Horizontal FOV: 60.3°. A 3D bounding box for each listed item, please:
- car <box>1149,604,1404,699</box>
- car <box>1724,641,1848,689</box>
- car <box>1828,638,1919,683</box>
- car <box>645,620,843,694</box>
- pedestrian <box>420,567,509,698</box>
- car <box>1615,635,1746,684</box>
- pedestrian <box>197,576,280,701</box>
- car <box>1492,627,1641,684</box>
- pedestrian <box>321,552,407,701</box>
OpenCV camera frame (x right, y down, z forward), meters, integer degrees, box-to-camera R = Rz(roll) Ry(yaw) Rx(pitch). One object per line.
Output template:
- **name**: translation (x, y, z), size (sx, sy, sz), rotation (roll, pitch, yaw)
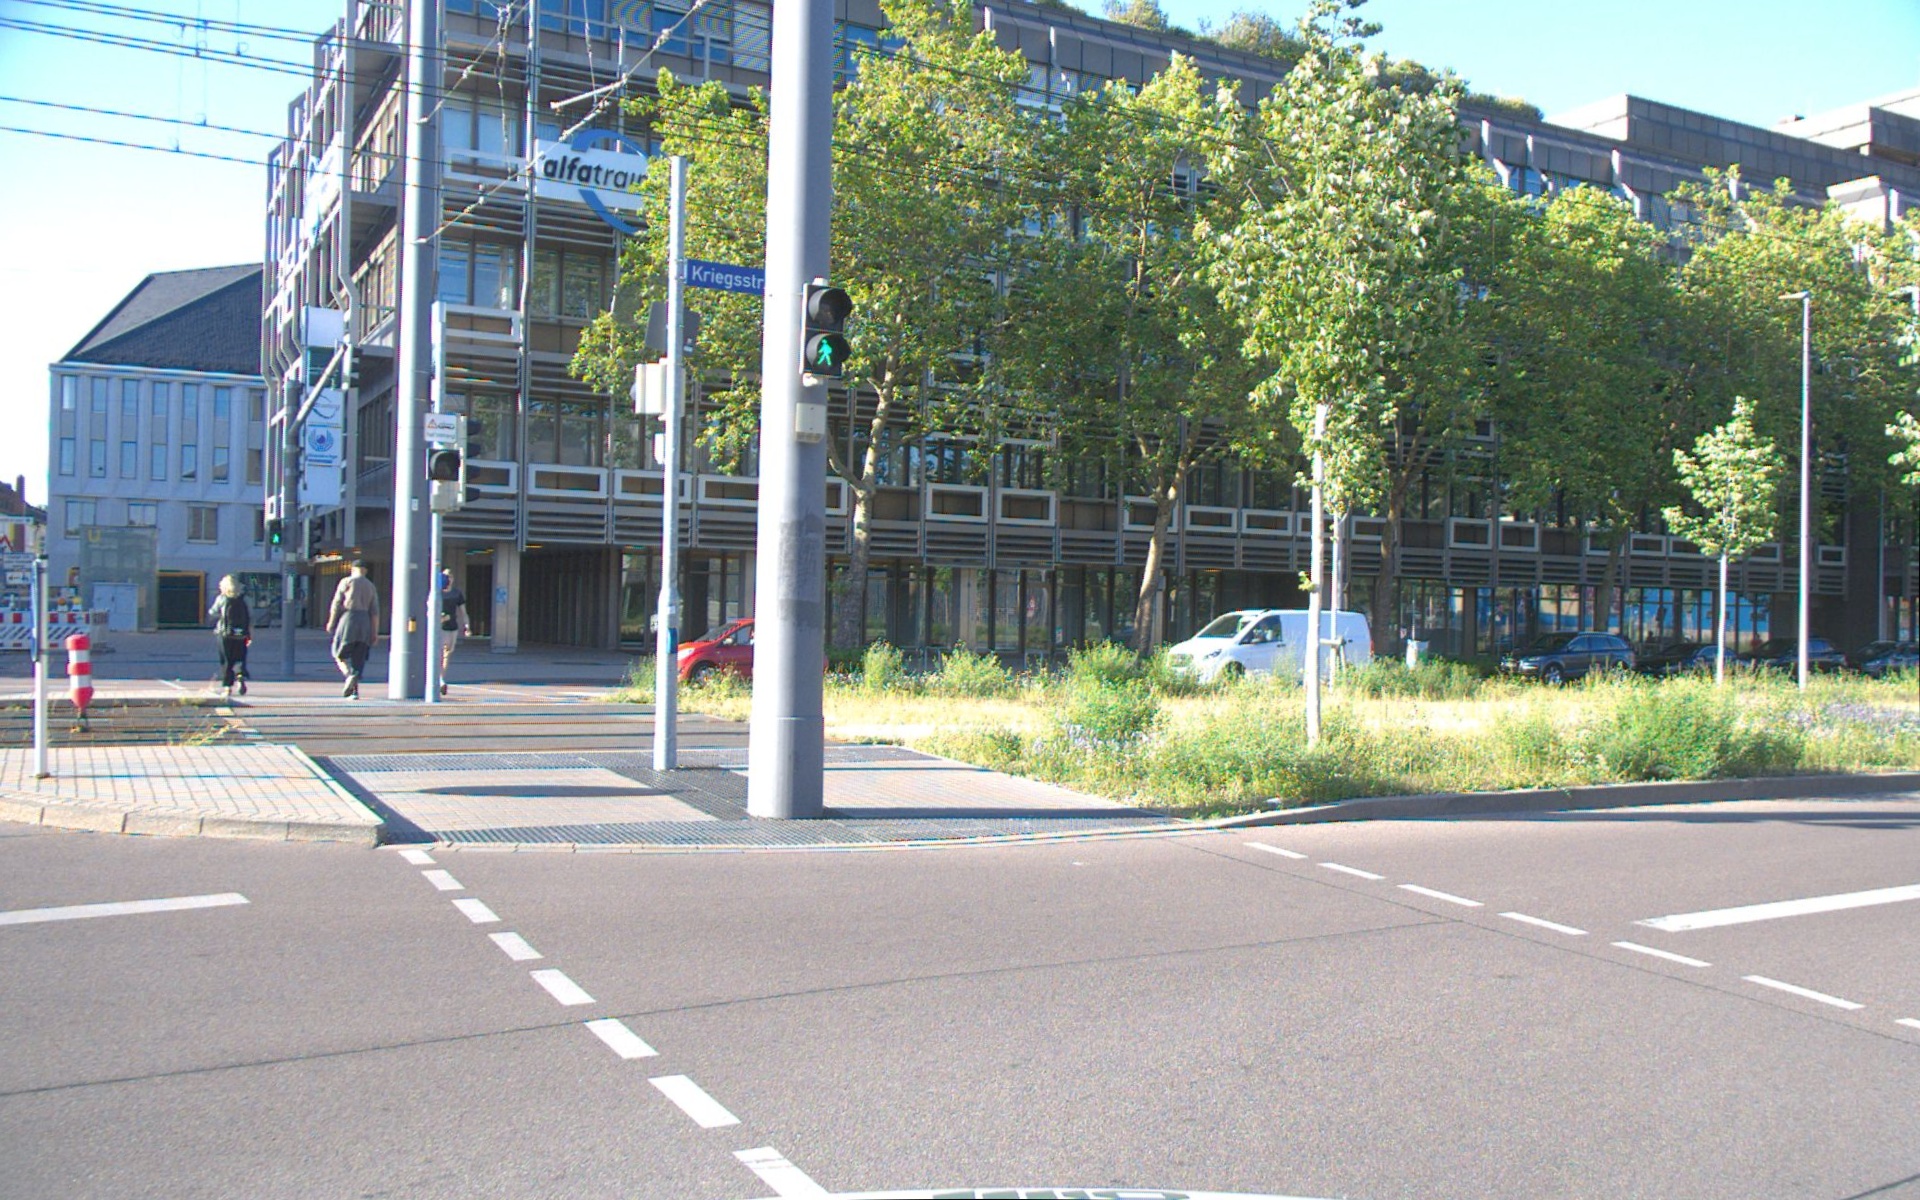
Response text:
- **car**: translation (7.268, 1.216, 37.864), size (5.624, 2.049, 2.245), rotation (2, -3, -28)
- **car**: translation (29.414, 2.326, 58.854), size (4.559, 1.584, 1.732), rotation (2, 0, -30)
- **car**: translation (34.931, 2.290, 62.226), size (4.295, 1.661, 1.900), rotation (1, -3, -27)
- **car**: translation (-4.598, 1.233, 35.250), size (3.822, 1.512, 1.829), rotation (1, -4, -28)
- **pedestrian**: translation (-7.588, 0.497, 25.362), size (0.991, 1.944, 1.051), rotation (1, -1, 1)
- **car**: translation (24.400, 2.013, 56.025), size (3.937, 1.547, 1.984), rotation (2, 0, -26)
- **pedestrian**: translation (-9.419, 0.492, 21.589), size (0.886, 1.576, 0.915), rotation (1, 1, -29)
- **car**: translation (19.653, 1.813, 53.547), size (4.804, 1.709, 1.979), rotation (2, 0, -31)
- **pedestrian**: translation (-7.300, 0.321, 20.248), size (0.846, 1.774, 0.732), rotation (1, 0, -31)
